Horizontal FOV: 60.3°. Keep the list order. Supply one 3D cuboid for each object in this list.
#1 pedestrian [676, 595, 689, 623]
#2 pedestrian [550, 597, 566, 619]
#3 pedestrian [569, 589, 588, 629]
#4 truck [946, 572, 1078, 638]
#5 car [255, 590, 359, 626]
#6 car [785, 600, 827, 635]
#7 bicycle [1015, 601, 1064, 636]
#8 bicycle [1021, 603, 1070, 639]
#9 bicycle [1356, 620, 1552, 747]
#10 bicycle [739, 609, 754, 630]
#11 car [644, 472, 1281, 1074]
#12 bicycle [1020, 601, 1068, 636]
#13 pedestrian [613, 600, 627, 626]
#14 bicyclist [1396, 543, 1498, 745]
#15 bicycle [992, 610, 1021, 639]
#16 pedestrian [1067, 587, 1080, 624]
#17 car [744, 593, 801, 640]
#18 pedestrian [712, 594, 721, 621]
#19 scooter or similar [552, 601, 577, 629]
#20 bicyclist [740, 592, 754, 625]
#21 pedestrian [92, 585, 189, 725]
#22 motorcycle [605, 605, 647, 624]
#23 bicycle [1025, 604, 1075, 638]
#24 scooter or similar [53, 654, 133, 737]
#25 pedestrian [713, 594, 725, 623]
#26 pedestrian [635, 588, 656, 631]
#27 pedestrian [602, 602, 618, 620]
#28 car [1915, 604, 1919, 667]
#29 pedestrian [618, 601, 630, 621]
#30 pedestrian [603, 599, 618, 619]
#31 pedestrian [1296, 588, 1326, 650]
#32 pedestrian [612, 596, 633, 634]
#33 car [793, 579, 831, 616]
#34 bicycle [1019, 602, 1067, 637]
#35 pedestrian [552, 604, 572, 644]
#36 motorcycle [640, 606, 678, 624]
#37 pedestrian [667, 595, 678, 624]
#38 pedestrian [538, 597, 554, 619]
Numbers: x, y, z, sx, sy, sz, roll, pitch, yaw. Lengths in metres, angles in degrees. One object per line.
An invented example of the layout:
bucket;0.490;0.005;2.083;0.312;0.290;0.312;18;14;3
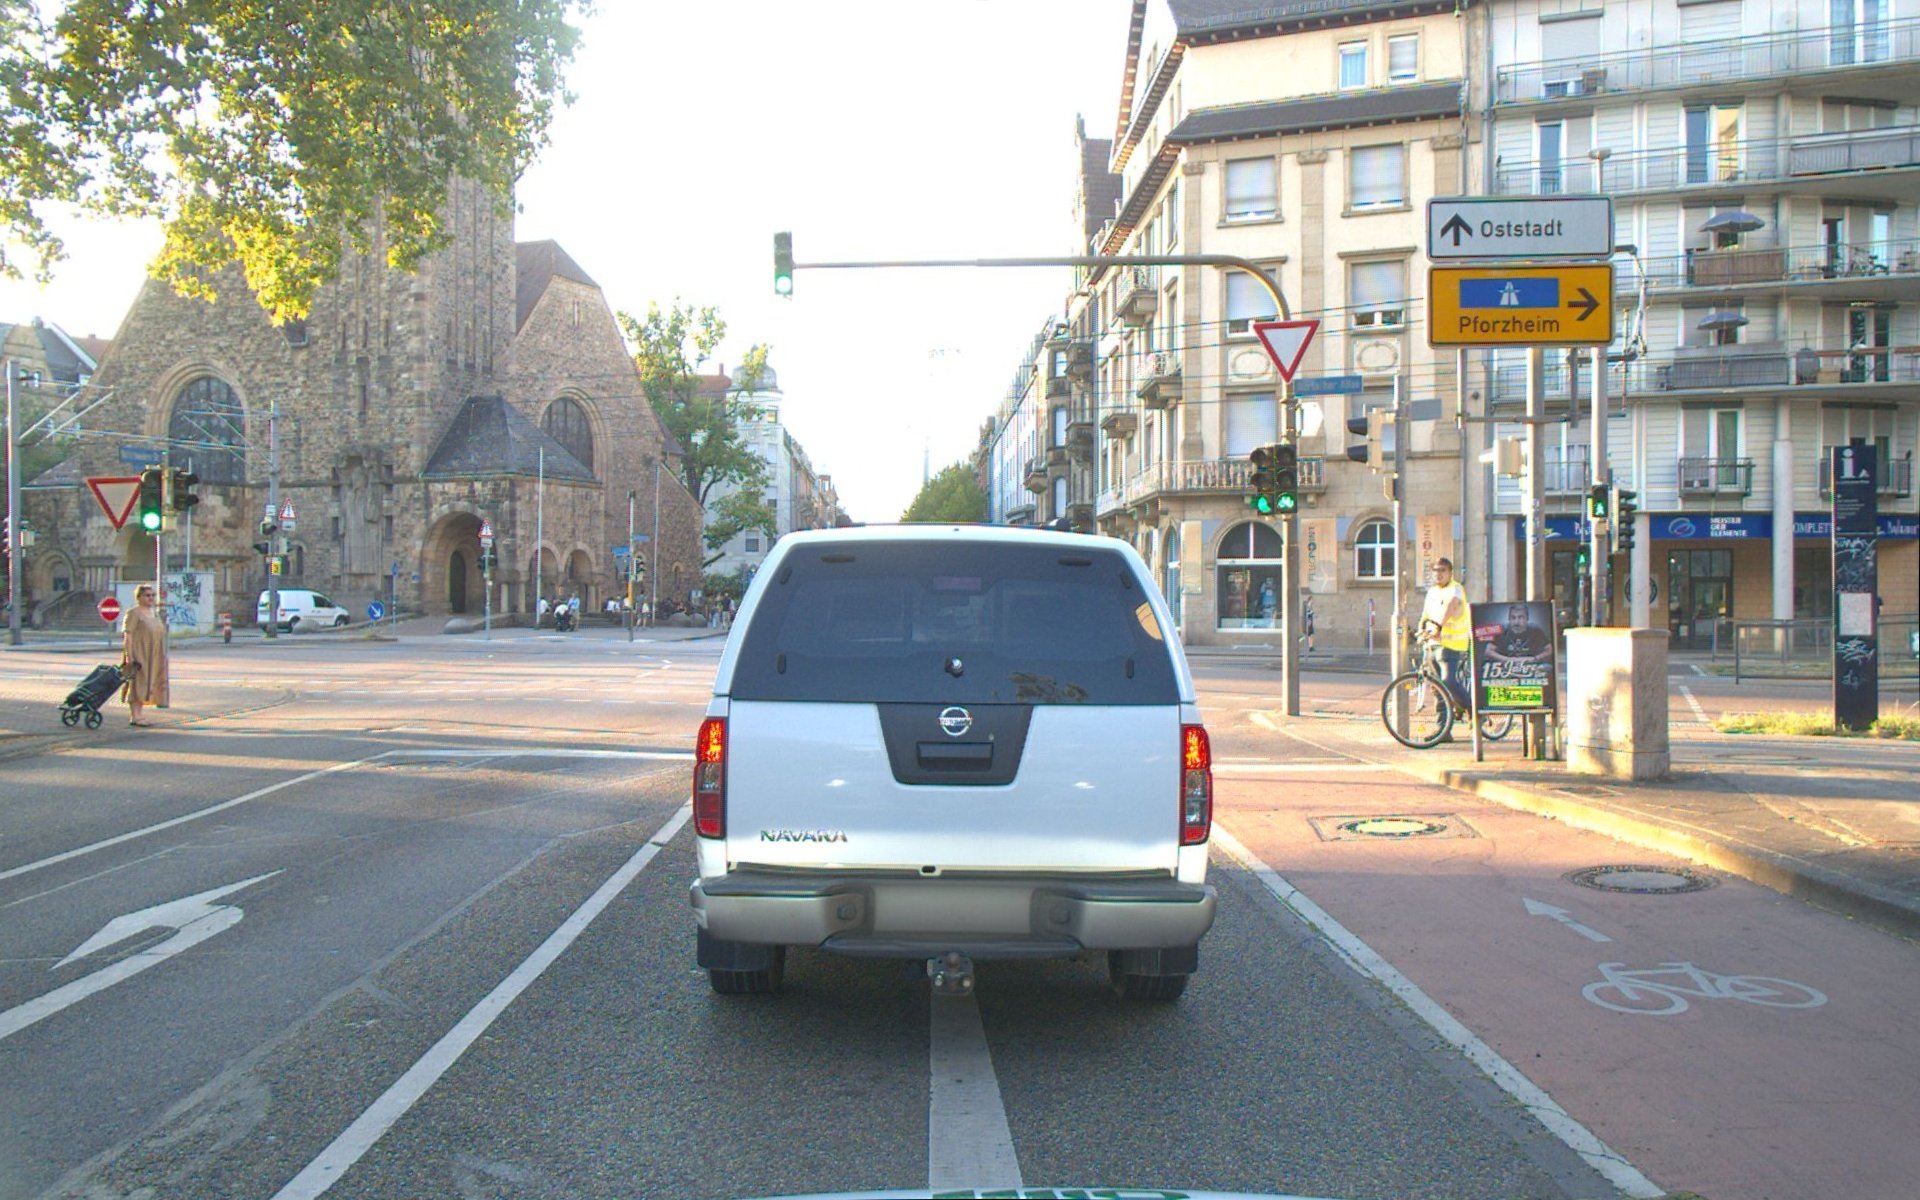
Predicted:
pedestrian;-16.713;0.542;99.566;0.630;1.725;0.561;1;-1;-2
pedestrian;-18.096;0.350;74.416;0.511;0.977;0.479;1;-1;18
pedestrian;-16.625;0.385;72.100;0.620;1.728;0.603;1;-1;10
truck;2.231;0.219;68.826;5.630;2.610;2.250;1;-1;-45
car;-29.202;0.385;74.107;1.679;1.543;4.454;1;-1;23
car;-7.654;0.852;82.215;1.955;1.585;4.763;-1;0;-5
bicycle;3.165;0.742;65.790;1.818;1.259;0.530;-3;-1;-3
bicycle;3.259;0.788;63.218;1.781;1.259;0.487;-3;-1;-3
bicycle;4.719;0.774;15.729;2.046;1.129;0.621;1;-1;-34
bicycle;-10.813;0.979;83.830;0.587;1.062;1.944;1;-1;-4
car;-0.015;0.560;7.158;1.953;1.841;3.999;1;-1;-1
bicycle;3.296;0.730;64.656;1.781;1.259;0.412;-3;-1;-3
pedestrian;-16.809;0.630;81.689;0.468;1.267;0.523;1;-1;16
bicyclist;4.600;0.406;15.641;0.690;1.856;0.621;1;-1;-33
bicycle;1.787;0.944;63.600;1.055;1.042;0.317;-3;-1;-3
pedestrian;5.261;0.266;76.698;0.517;1.683;0.547;1;-1;-1
car;-7.738;0.655;68.521;1.953;1.815;4.796;0;1;-2
pedestrian;-15.640;0.461;106.426;0.549;1.725;0.643;1;-1;-9
scooter or similar;-16.968;0.644;71.052;0.620;1.122;1.079;-2;0;11
bicyclist;-10.814;0.445;83.859;0.587;1.673;0.963;1;-1;-2
pedestrian;-9.916;0.662;20.038;0.786;1.656;0.773;1;-1;-6
motorcycle;-18.450;0.824;91.406;2.201;1.005;0.707;1;-1;-7
bicycle;3.393;0.782;62.280;1.781;1.170;0.636;-3;-1;-3
scooter or similar;-10.017;1.091;19.136;0.580;0.913;0.849;1;-1;-11
pedestrian;-15.383;0.542;105.590;0.632;1.888;0.559;1;-1;-15
pedestrian;-14.174;0.443;74.570;0.796;1.934;0.666;1;-1;-3
pedestrian;-18.699;0.581;88.316;0.540;0.977;0.710;1;-1;20
car;24.789;0.871;38.809;3.907;1.512;1.849;1;-1;24
pedestrian;-16.243;0.540;79.965;0.513;0.977;0.477;1;-1;-17
pedestrian;-16.941;0.426;80.143;0.510;0.977;0.479;1;-1;16
pedestrian;10.342;0.557;48.719;0.771;1.810;0.543;0;-1;24
pedestrian;-15.172;0.691;74.398;0.796;1.699;0.859;1;-1;-3
car;-8.666;-0.129;97.041;1.953;2.049;4.948;0;0;-2
bicycle;3.208;0.756;63.928;1.781;1.259;0.477;-3;-1;-3
pedestrian;-17.378;1.042;72.198;0.620;1.728;0.603;1;-1;7
motorcycle;-17.419;0.884;95.737;2.119;1.005;0.594;1;-1;19
pedestrian;-16.893;0.557;97.261;0.631;1.725;0.560;1;-1;-10
pedestrian;-18.710;0.343;74.682;0.511;0.977;0.479;1;-1;18
